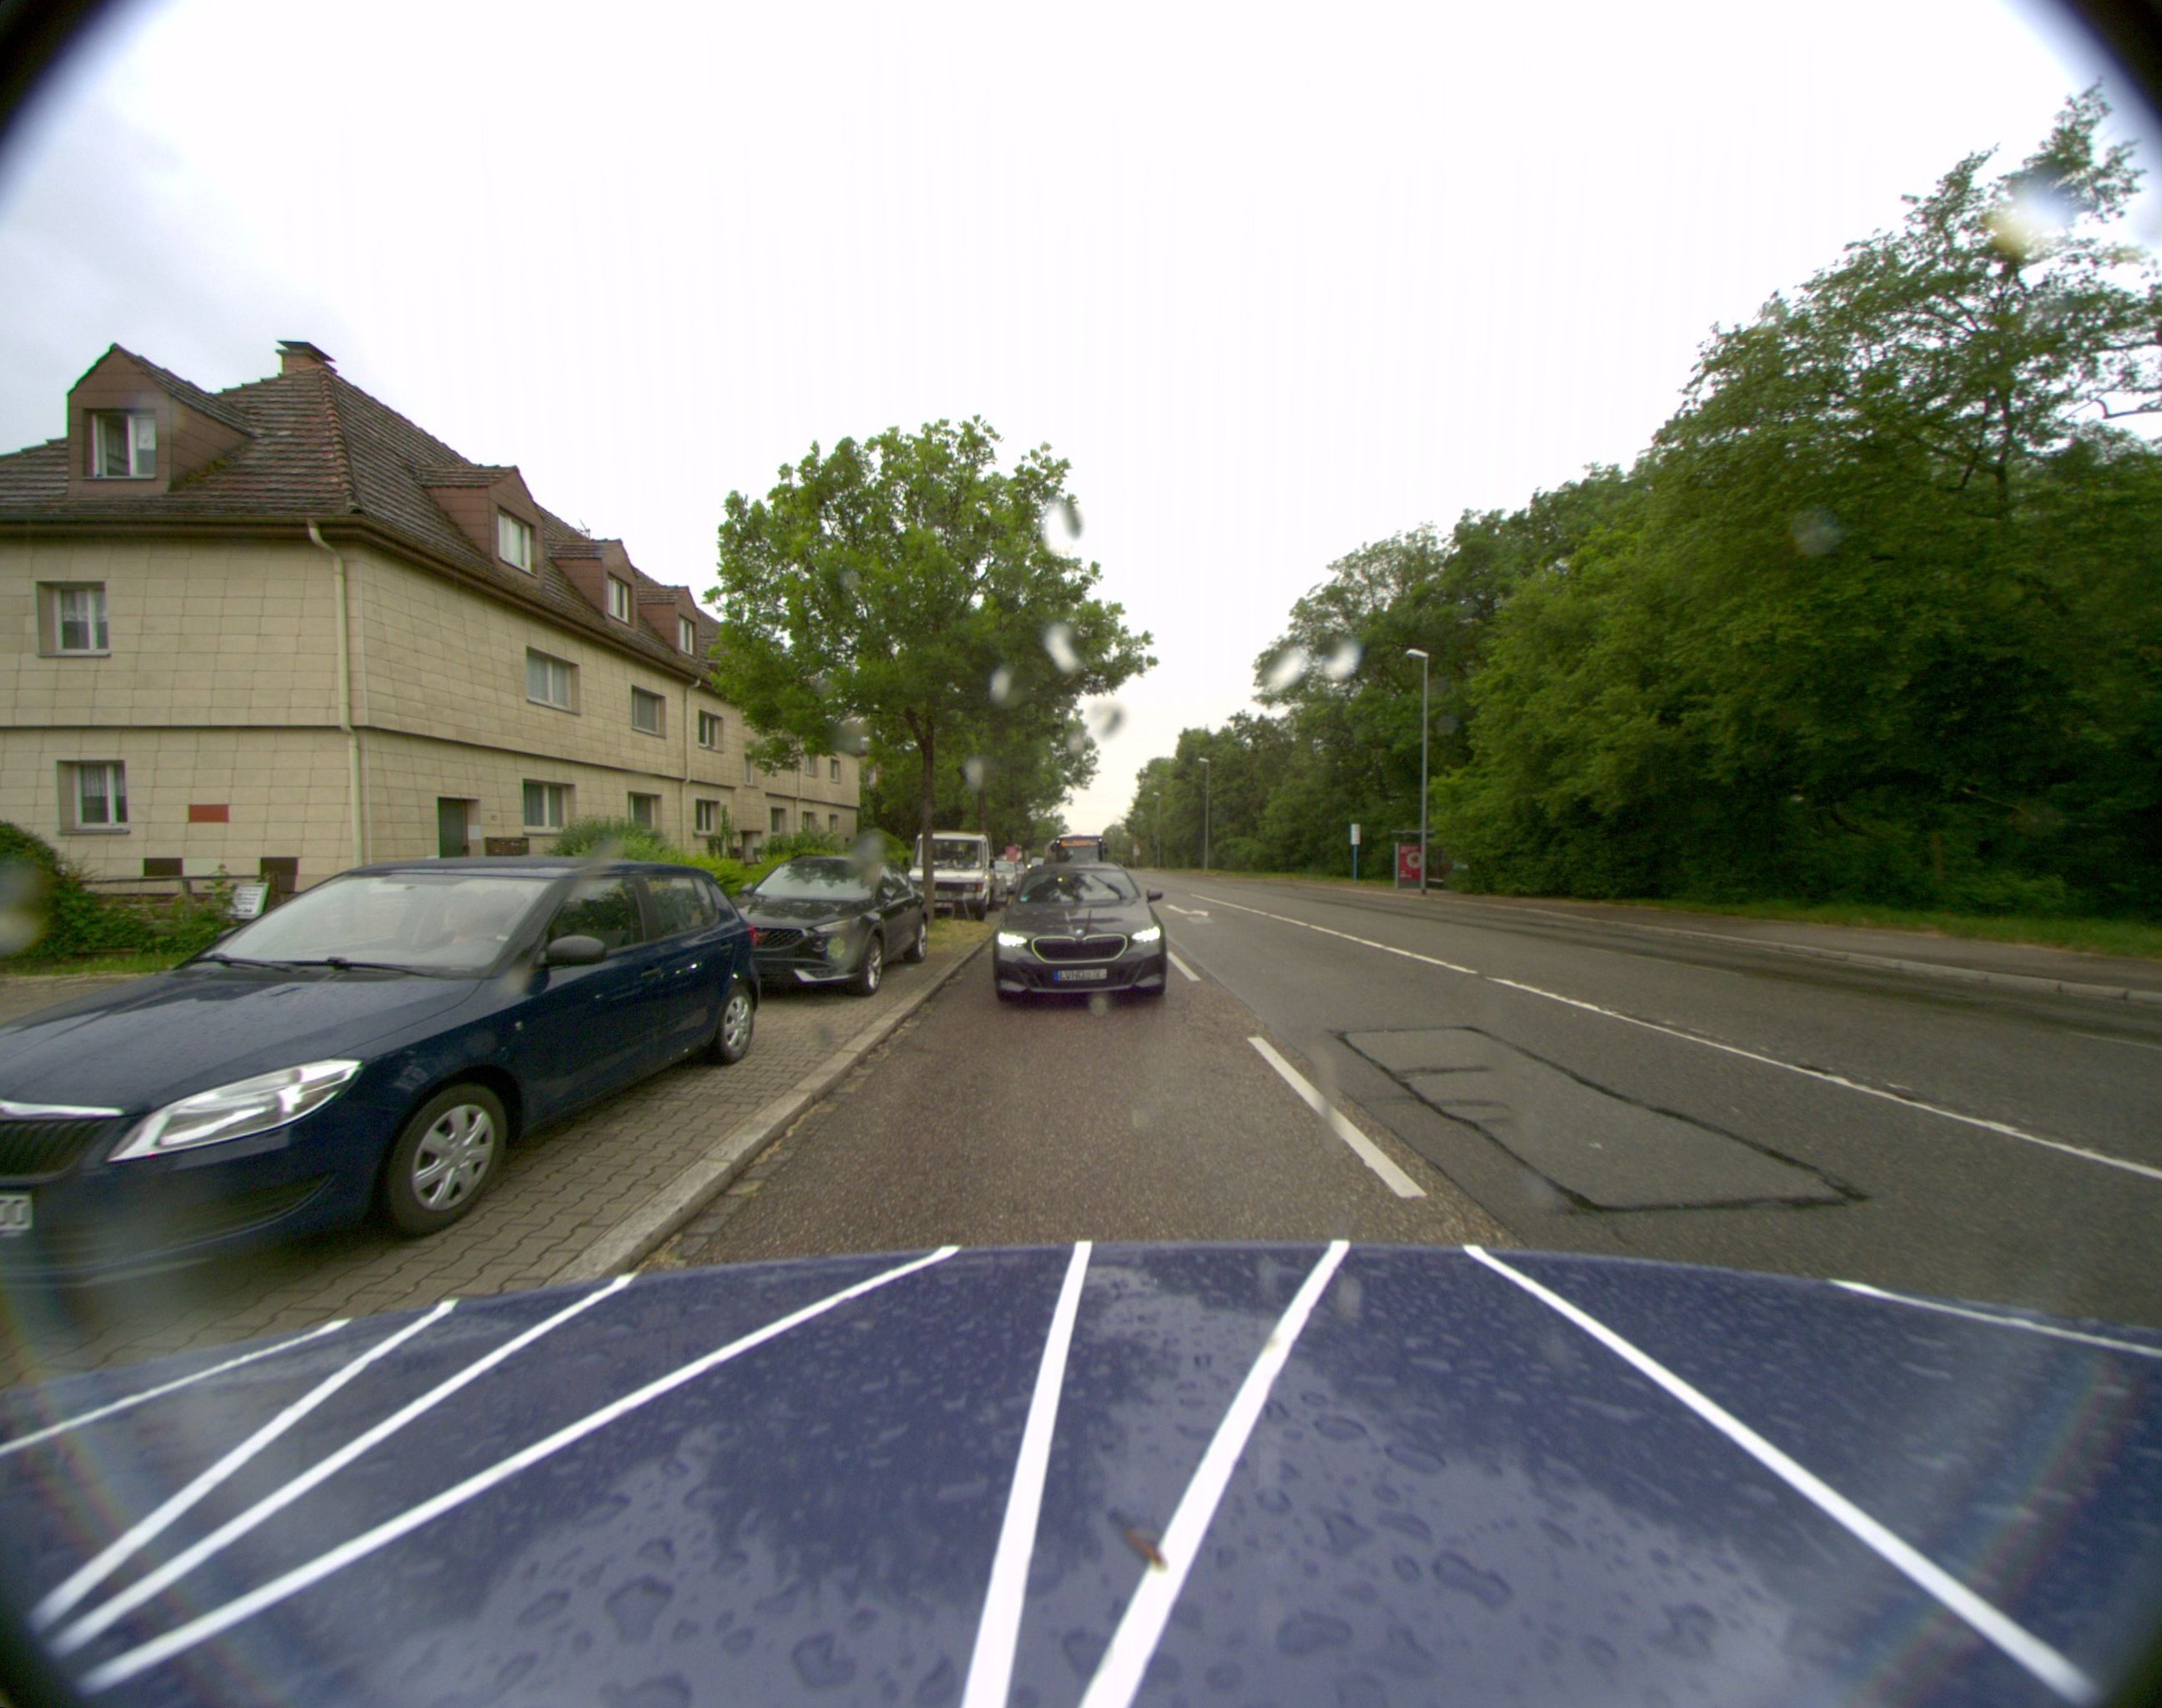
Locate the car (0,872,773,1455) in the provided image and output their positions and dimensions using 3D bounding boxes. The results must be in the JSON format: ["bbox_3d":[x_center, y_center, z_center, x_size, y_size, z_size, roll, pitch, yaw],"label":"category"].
[{"bbox_3d":[-3.244,0.874,3.972,1.608,1.463,3.856,1,0,1],"label":"car"}]

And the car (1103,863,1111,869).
[{"bbox_3d":[6.665,3.168,193.807,1.749,1.423,4.388,2,0,-2],"label":"car"}]

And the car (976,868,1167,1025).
[{"bbox_3d":[-0.103,0.957,9.770,1.855,1.461,4.483,-1,0,0],"label":"car"}]

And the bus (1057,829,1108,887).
[{"bbox_3d":[-0.011,0.210,43.976,2.563,2.942,9.449,-1,0,-1],"label":"bus"}]

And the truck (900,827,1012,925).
[{"bbox_3d":[-3.210,0.528,20.982,2.085,2.208,6.500,2,0,-1],"label":"truck"}]

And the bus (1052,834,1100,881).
[{"bbox_3d":[-0.491,0.232,52.765,2.563,2.942,8.553,-1,0,-5],"label":"bus"}]

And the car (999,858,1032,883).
[{"bbox_3d":[-3.908,0.944,45.831,1.692,1.381,4.499,2,0,-1],"label":"car"}]

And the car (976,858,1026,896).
[{"bbox_3d":[-3.278,0.964,31.896,1.605,1.427,4.022,2,-2,0],"label":"car"}]

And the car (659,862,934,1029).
[{"bbox_3d":[-3.090,0.880,9.251,1.718,1.490,4.183,2,0,0],"label":"car"}]
